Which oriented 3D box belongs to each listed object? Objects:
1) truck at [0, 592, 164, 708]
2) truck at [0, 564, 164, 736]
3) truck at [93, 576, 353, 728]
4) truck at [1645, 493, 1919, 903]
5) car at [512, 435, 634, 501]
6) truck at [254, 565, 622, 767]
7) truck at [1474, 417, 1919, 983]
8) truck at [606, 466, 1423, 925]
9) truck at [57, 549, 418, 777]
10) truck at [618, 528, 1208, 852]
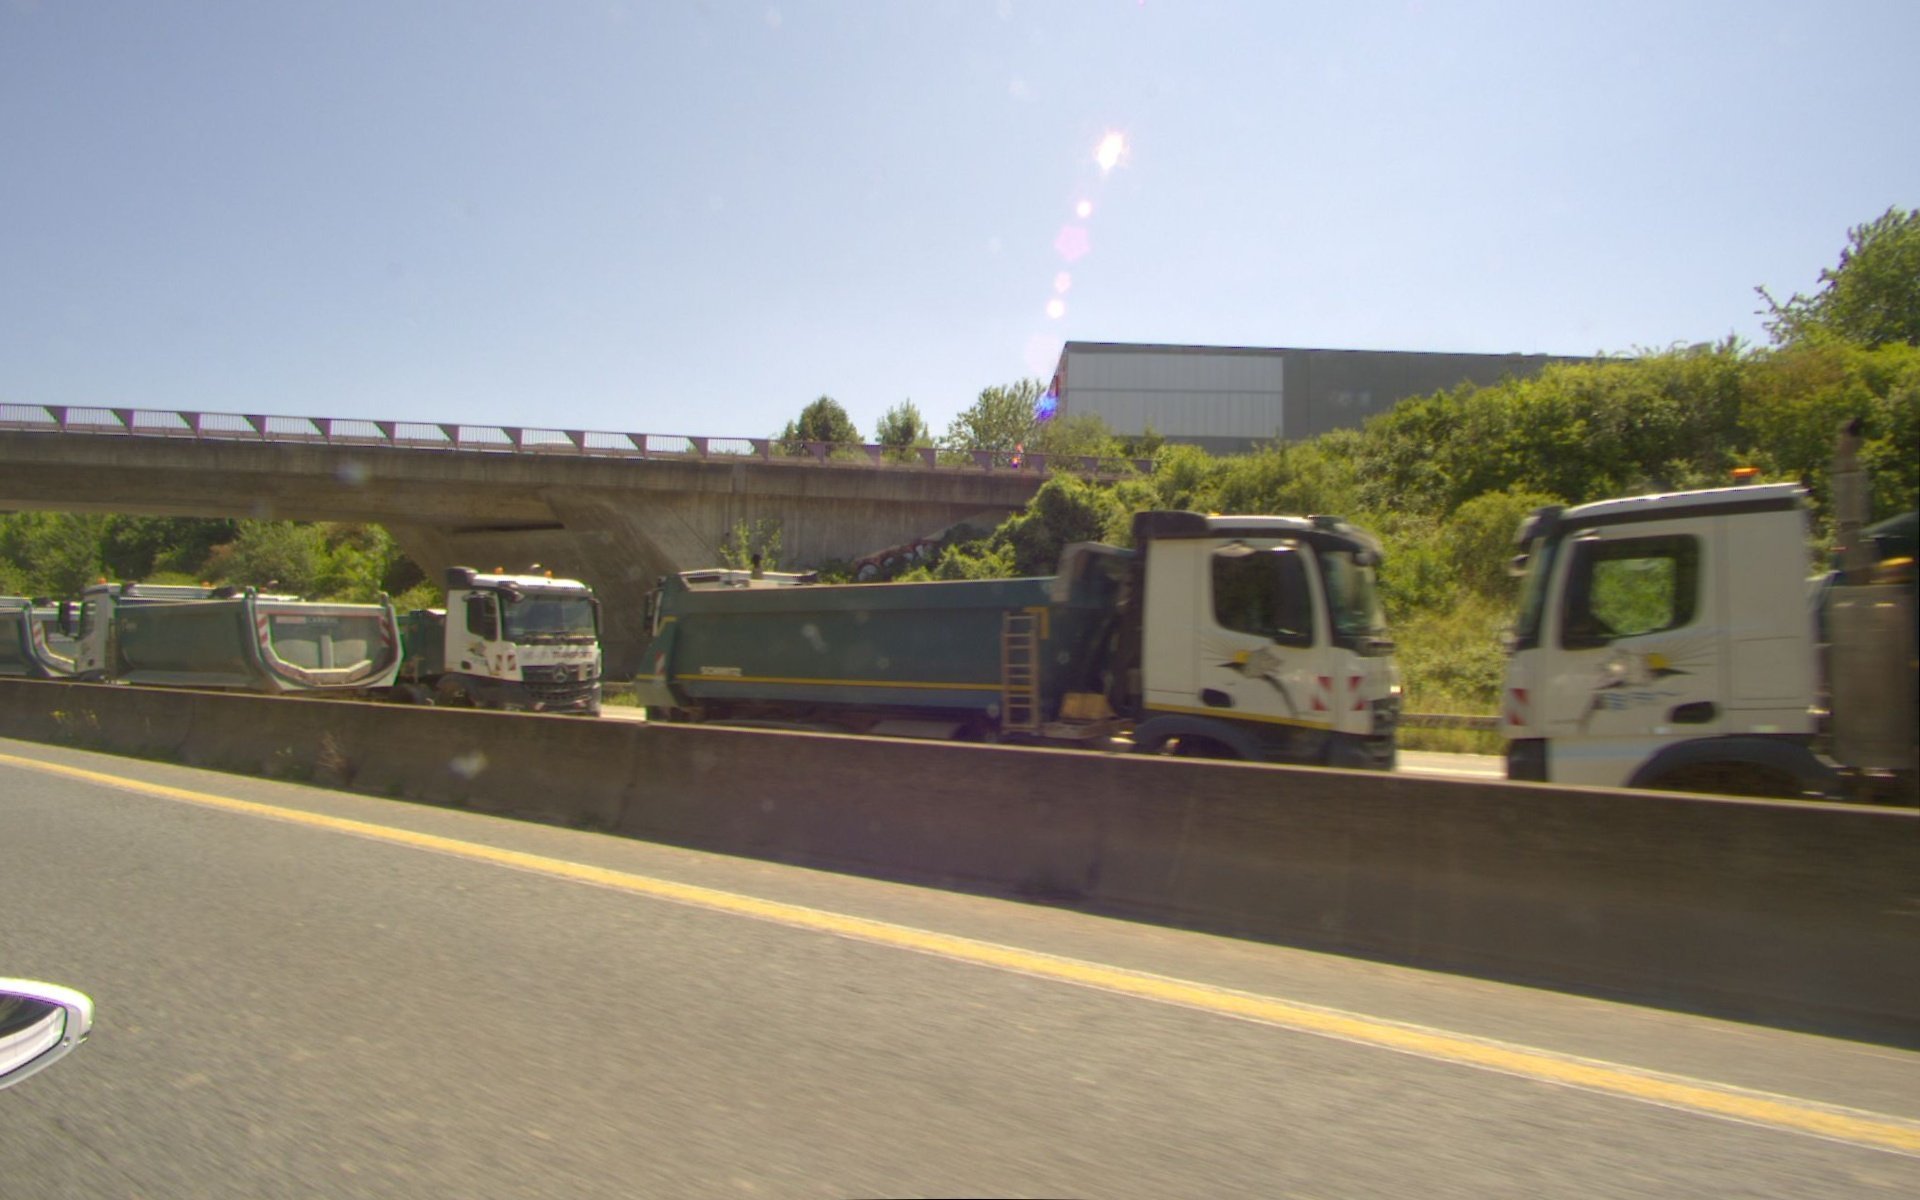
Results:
[{"bbox_3d":[-31.152,1.667,34.639,9.191,3.602,2.683,-1,-2,32],"label":"truck"},{"bbox_3d":[-24.537,1.254,26.375,9.191,3.905,2.683,-1,-2,32],"label":"truck"},{"bbox_3d":[-21.018,1.402,28.347,9.191,3.774,2.683,-1,-2,32],"label":"truck"},{"bbox_3d":[11.262,0.815,7.920,9.463,3.420,2.683,-1,-2,32],"label":"truck"},{"bbox_3d":[-17.527,-5.971,45.607,4.687,2.571,2.261,0,-2,-4],"label":"car"},{"bbox_3d":[-11.400,1.286,21.428,9.191,3.602,2.683,-1,-2,32],"label":"truck"},{"bbox_3d":[8.563,0.647,6.442,9.191,3.602,2.683,-1,-2,32],"label":"truck"},{"bbox_3d":[0.108,0.858,11.454,9.191,3.602,2.683,-1,-2,32],"label":"truck"},{"bbox_3d":[-14.937,1.165,20.374,9.191,3.808,2.683,-1,-2,32],"label":"truck"},{"bbox_3d":[-1.097,1.173,15.386,9.191,3.808,2.683,-1,-2,32],"label":"truck"}]
